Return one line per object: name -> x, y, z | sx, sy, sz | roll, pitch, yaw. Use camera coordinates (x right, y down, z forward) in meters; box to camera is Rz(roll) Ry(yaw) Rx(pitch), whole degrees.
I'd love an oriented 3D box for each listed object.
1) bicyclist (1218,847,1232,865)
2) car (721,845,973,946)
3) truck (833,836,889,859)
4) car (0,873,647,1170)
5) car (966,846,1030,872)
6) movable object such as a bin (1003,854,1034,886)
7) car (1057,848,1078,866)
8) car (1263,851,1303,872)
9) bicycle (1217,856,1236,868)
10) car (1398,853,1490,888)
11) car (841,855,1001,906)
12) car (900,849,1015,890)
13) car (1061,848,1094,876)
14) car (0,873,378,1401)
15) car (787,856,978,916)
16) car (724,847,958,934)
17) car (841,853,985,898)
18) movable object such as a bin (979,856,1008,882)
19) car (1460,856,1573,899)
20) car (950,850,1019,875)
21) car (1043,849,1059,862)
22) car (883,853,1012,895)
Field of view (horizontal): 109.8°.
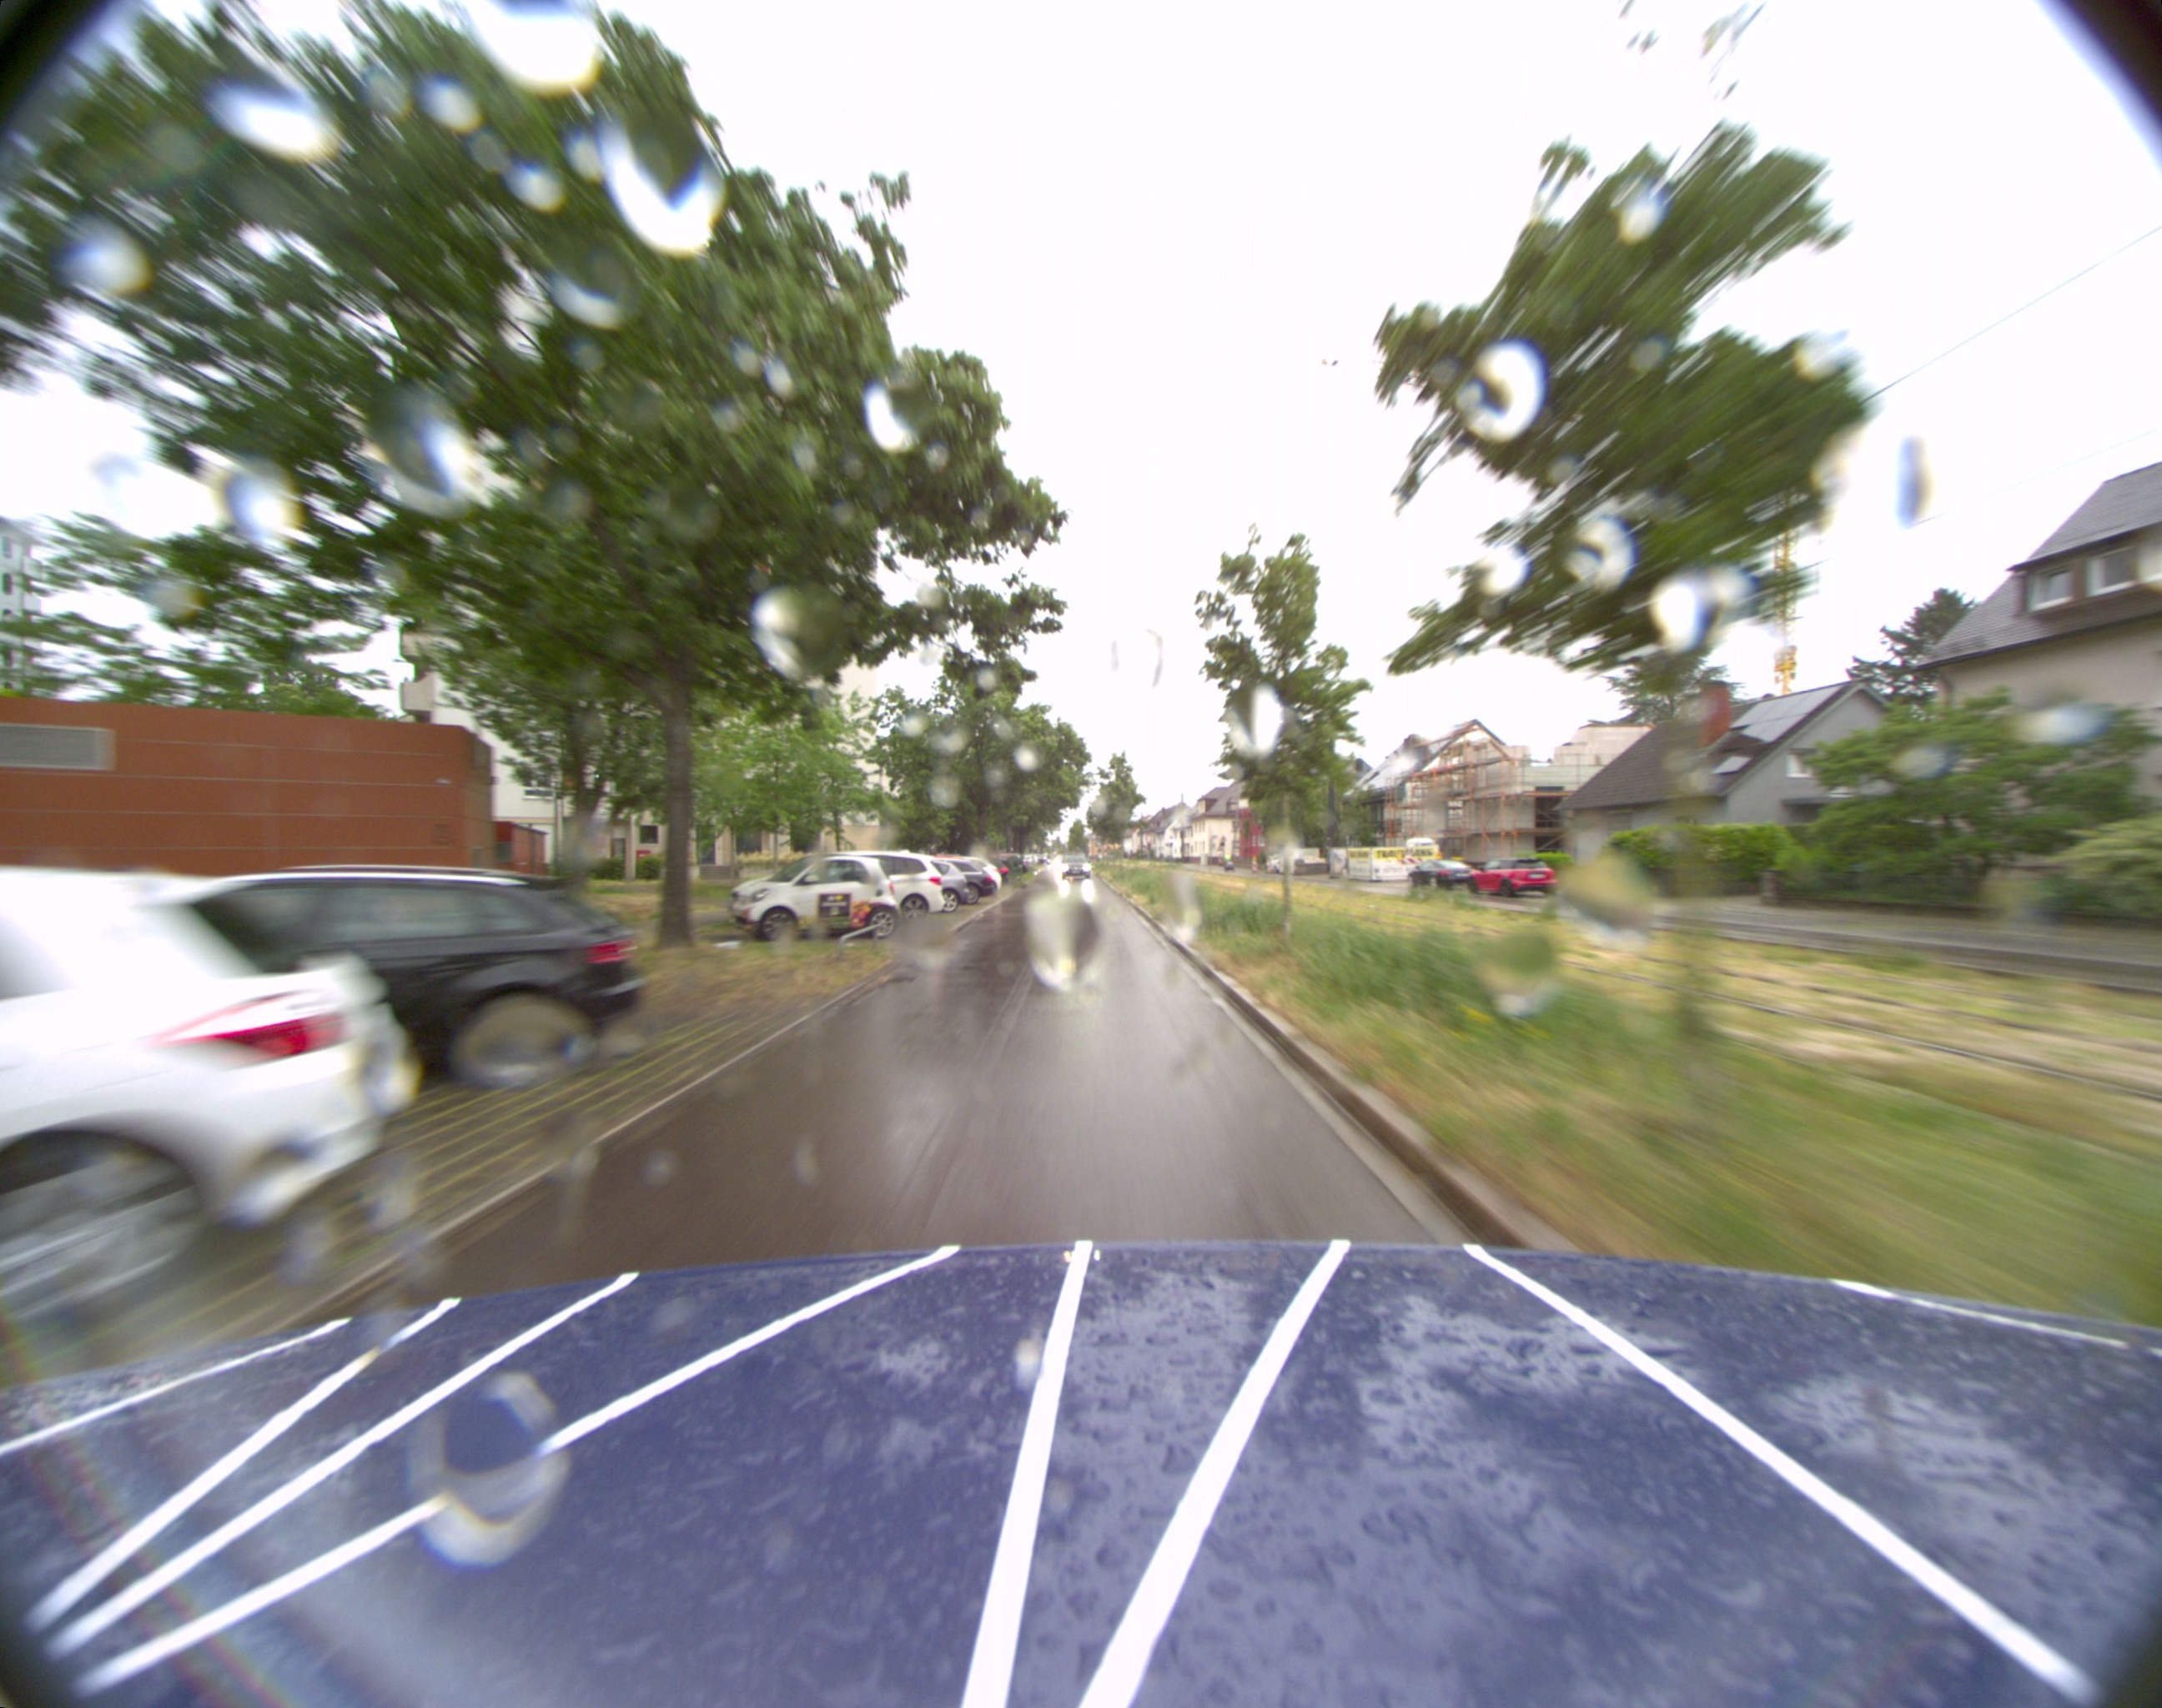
bicyclist -> 13.216, 0.182, 69.736 | 0.956, 1.575, 1.400 | -1, 2, -1
car -> -4.342, 0.749, 14.423 | 4.194, 1.662, 1.680 | 3, -1, -36
truck -> -23.877, -0.725, 82.588 | 5.681, 2.424, 2.120 | -2, 2, -18
car -> -5.229, 0.893, 4.962 | 3.953, 1.423, 1.680 | 3, -1, -36
car -> -5.716, 0.304, 52.583 | 4.054, 1.676, 1.720 | -1, 1, -36
movable object such as a bin -> -3.226, 0.793, 39.127 | 1.165, 1.553, 1.372 | -2, 2, -23
car -> -1.413, 0.314, 81.107 | 1.998, 1.762, 3.999 | -1, 1, 1
car -> 16.750, 0.576, 63.216 | 1.999, 1.618, 4.249 | -1, 1, -2
bicycle -> 13.247, 0.698, 69.233 | 0.937, 1.037, 3.433 | 0, 0, -2
car -> 15.966, 0.725, 33.653 | 1.999, 1.401, 4.174 | -1, -1, -1
car -> -4.864, 0.822, 23.334 | 4.470, 1.420, 1.680 | 3, -1, -33
car -> -5.244, 0.680, 32.370 | 4.469, 1.533, 1.680 | 3, 1, -31
car -> -0.234, 0.473, 48.968 | 1.999, 1.611, 3.999 | -1, 1, 0
car -> -4.900, 0.831, 2.103 | 4.195, 1.538, 1.760 | 3, -1, -39
car -> -5.152, 0.835, 19.938 | 4.470, 1.401, 1.763 | 3, -1, -34
car -> -5.143, 0.778, 16.612 | 4.471, 1.662, 1.807 | 3, -1, -39
car -> -5.760, 0.763, 26.269 | 4.471, 1.419, 1.804 | 3, -1, -38
movable object such as a bin -> -4.494, 0.755, 39.012 | 0.999, 1.305, 1.183 | -3, 2, -38
car -> 16.135, 0.819, 28.398 | 1.999, 1.365, 3.842 | -1, 1, -1
car -> -6.260, 0.555, 49.469 | 4.055, 1.479, 1.720 | 2, -1, -36
car -> -4.351, 0.239, 111.162 | 1.998, 1.696, 3.999 | -1, 1, 1
car -> -5.100, 0.782, 29.274 | 4.470, 1.456, 1.815 | 3, -1, -34
